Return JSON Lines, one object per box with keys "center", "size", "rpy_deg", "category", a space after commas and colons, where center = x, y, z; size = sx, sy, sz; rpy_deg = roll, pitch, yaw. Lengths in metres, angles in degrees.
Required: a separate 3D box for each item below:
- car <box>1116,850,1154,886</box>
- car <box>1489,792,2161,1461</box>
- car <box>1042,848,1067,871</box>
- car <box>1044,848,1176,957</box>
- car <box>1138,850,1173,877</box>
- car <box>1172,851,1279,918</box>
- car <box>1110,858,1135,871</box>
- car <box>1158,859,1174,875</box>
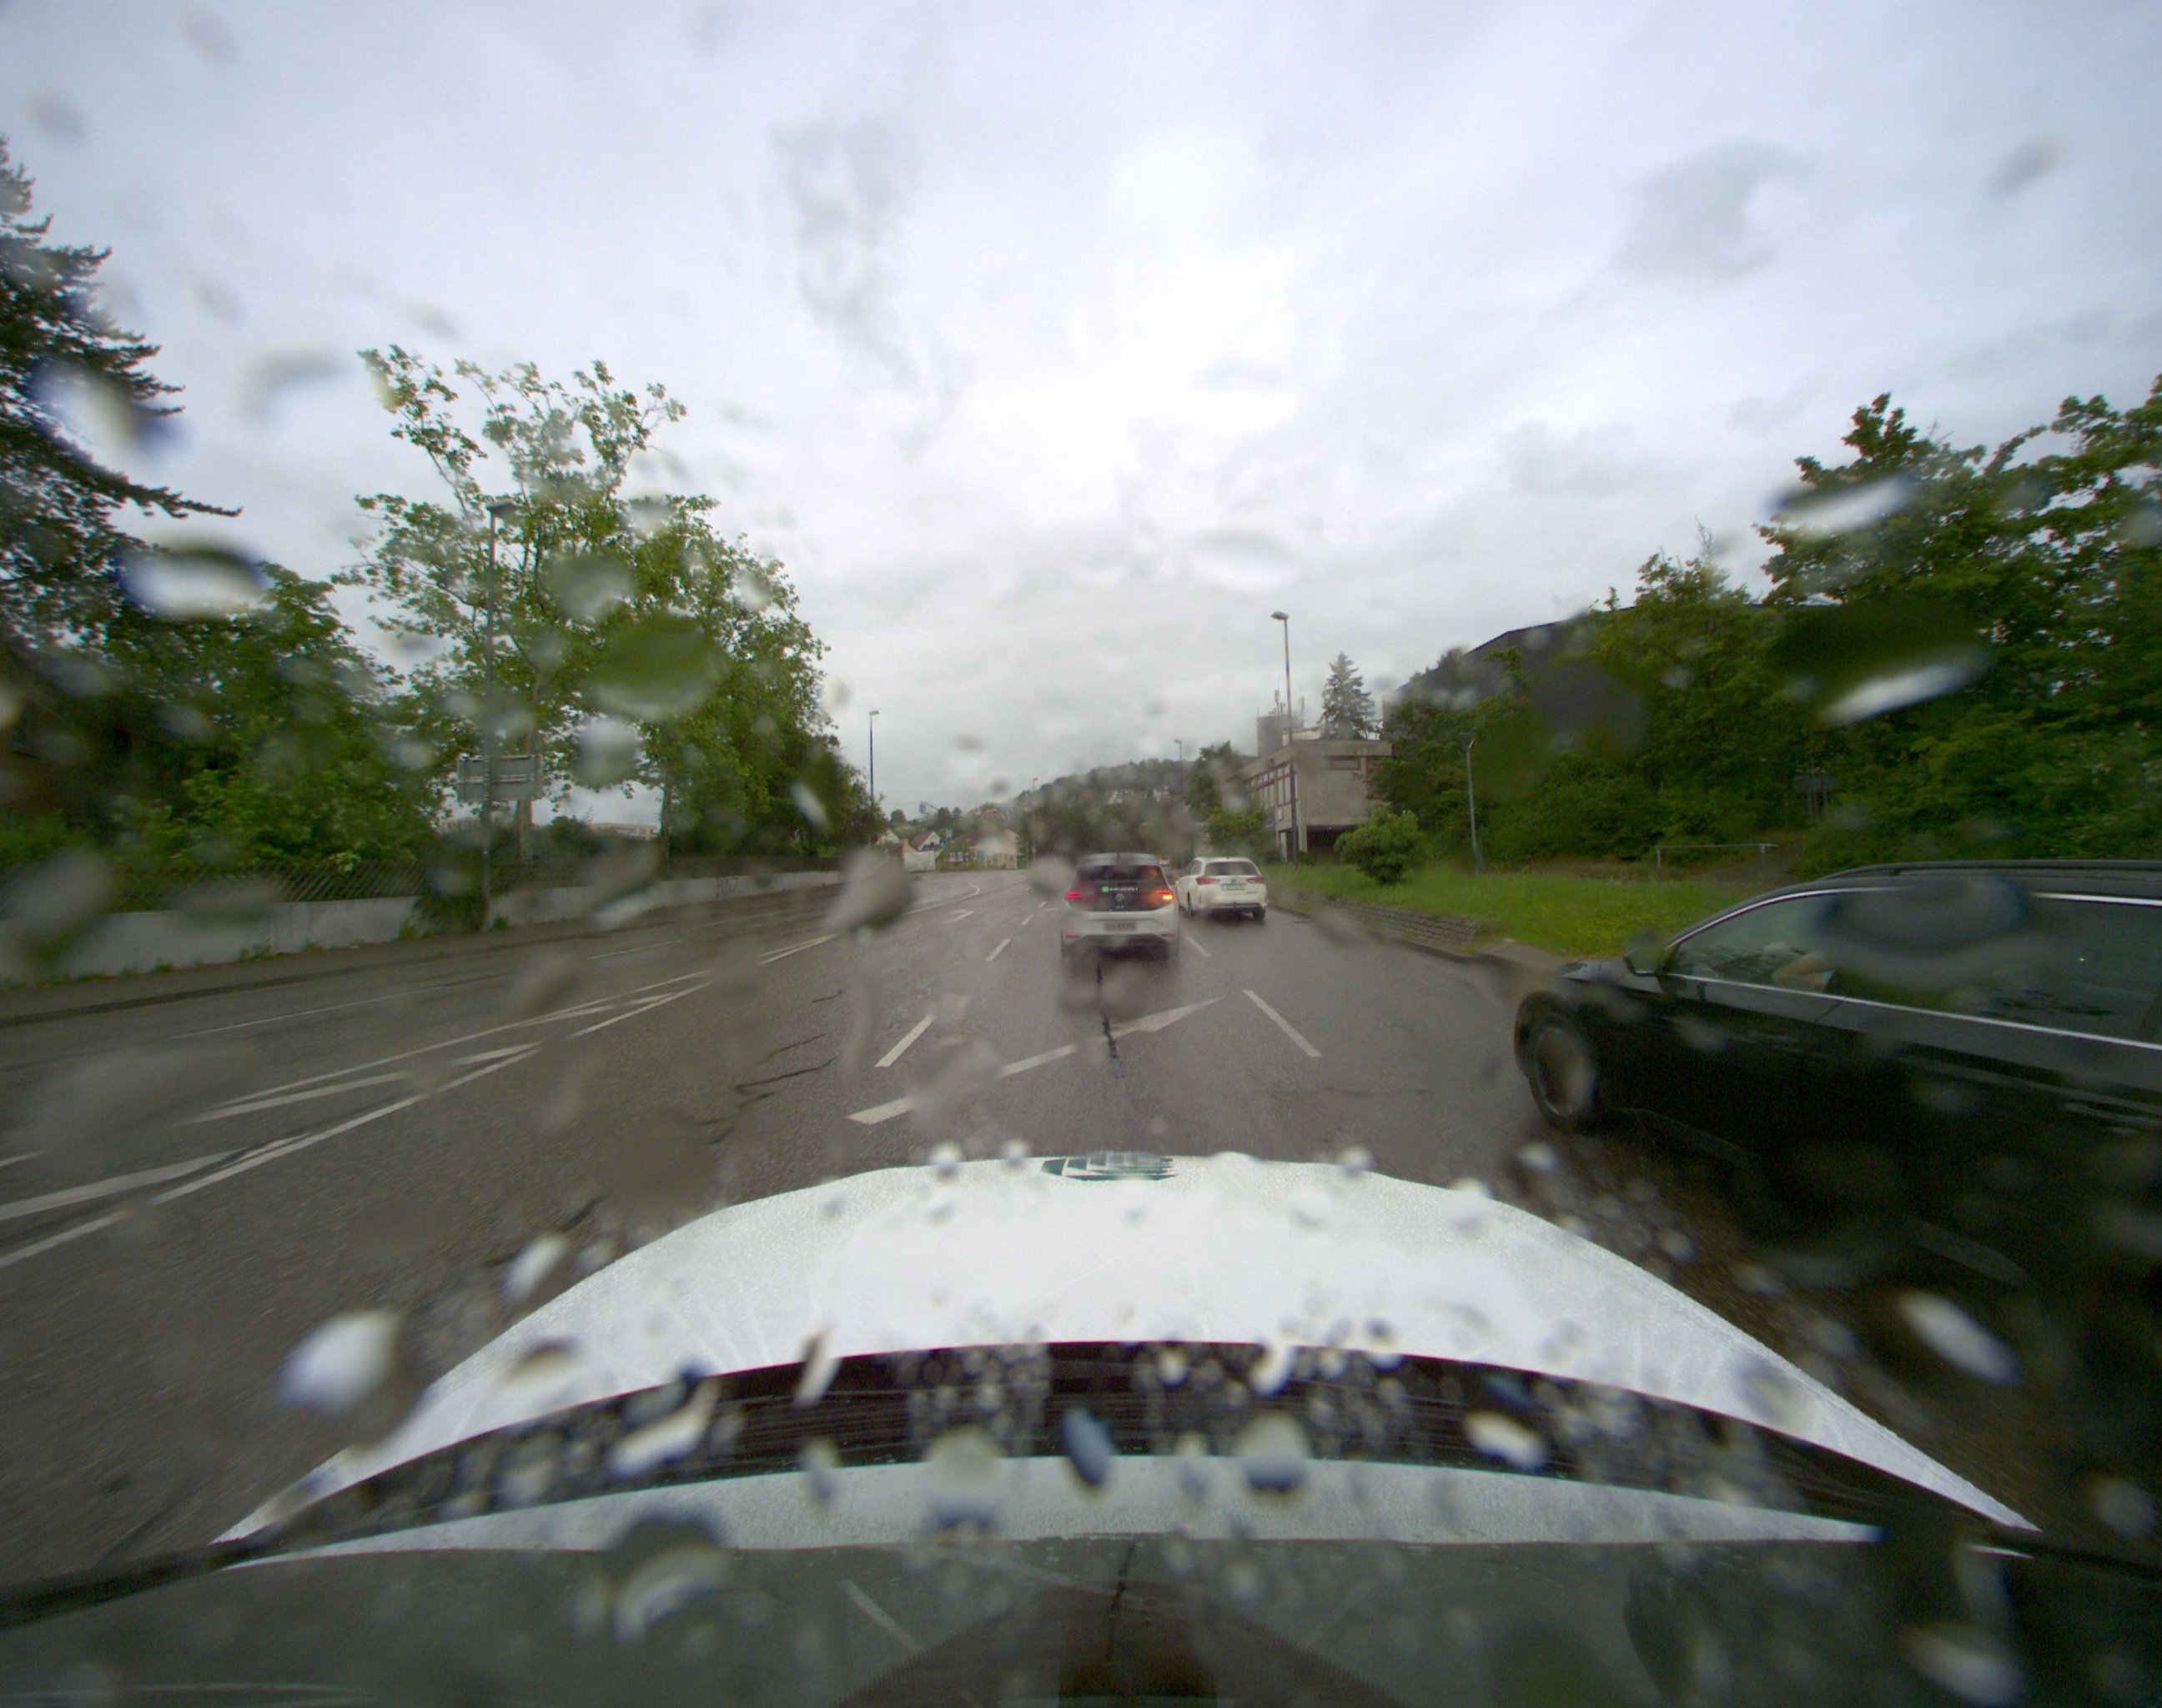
{"center": [2.359, 0.593, 36.572], "size": [1.561, 1.530, 4.002], "rpy_deg": [-1, 0, 2], "category": "car"}
{"center": [3.452, 0.644, 2.777], "size": [1.946, 1.507, 4.610], "rpy_deg": [1, -1, 2], "category": "car"}
{"center": [-2.414, 0.546, 75.565], "size": [1.985, 2.014, 4.002], "rpy_deg": [0, -1, 3], "category": "car"}
{"center": [0.577, 0.716, 13.438], "size": [1.820, 1.500, 4.173], "rpy_deg": [-1, -1, 5], "category": "car"}
{"center": [4.577, 0.606, 50.403], "size": [1.984, 1.453, 3.775], "rpy_deg": [-4, -1, 4], "category": "car"}
{"center": [3.357, 0.699, 19.725], "size": [1.842, 1.410, 4.300], "rpy_deg": [-1, -1, 0], "category": "car"}
{"center": [5.465, 1.419, 107.400], "size": [1.977, 1.693, 4.728], "rpy_deg": [-1, -1, 20], "category": "car"}
{"center": [11.154, 1.736, 107.558], "size": [1.984, 2.014, 4.005], "rpy_deg": [0, -1, 5], "category": "car"}
